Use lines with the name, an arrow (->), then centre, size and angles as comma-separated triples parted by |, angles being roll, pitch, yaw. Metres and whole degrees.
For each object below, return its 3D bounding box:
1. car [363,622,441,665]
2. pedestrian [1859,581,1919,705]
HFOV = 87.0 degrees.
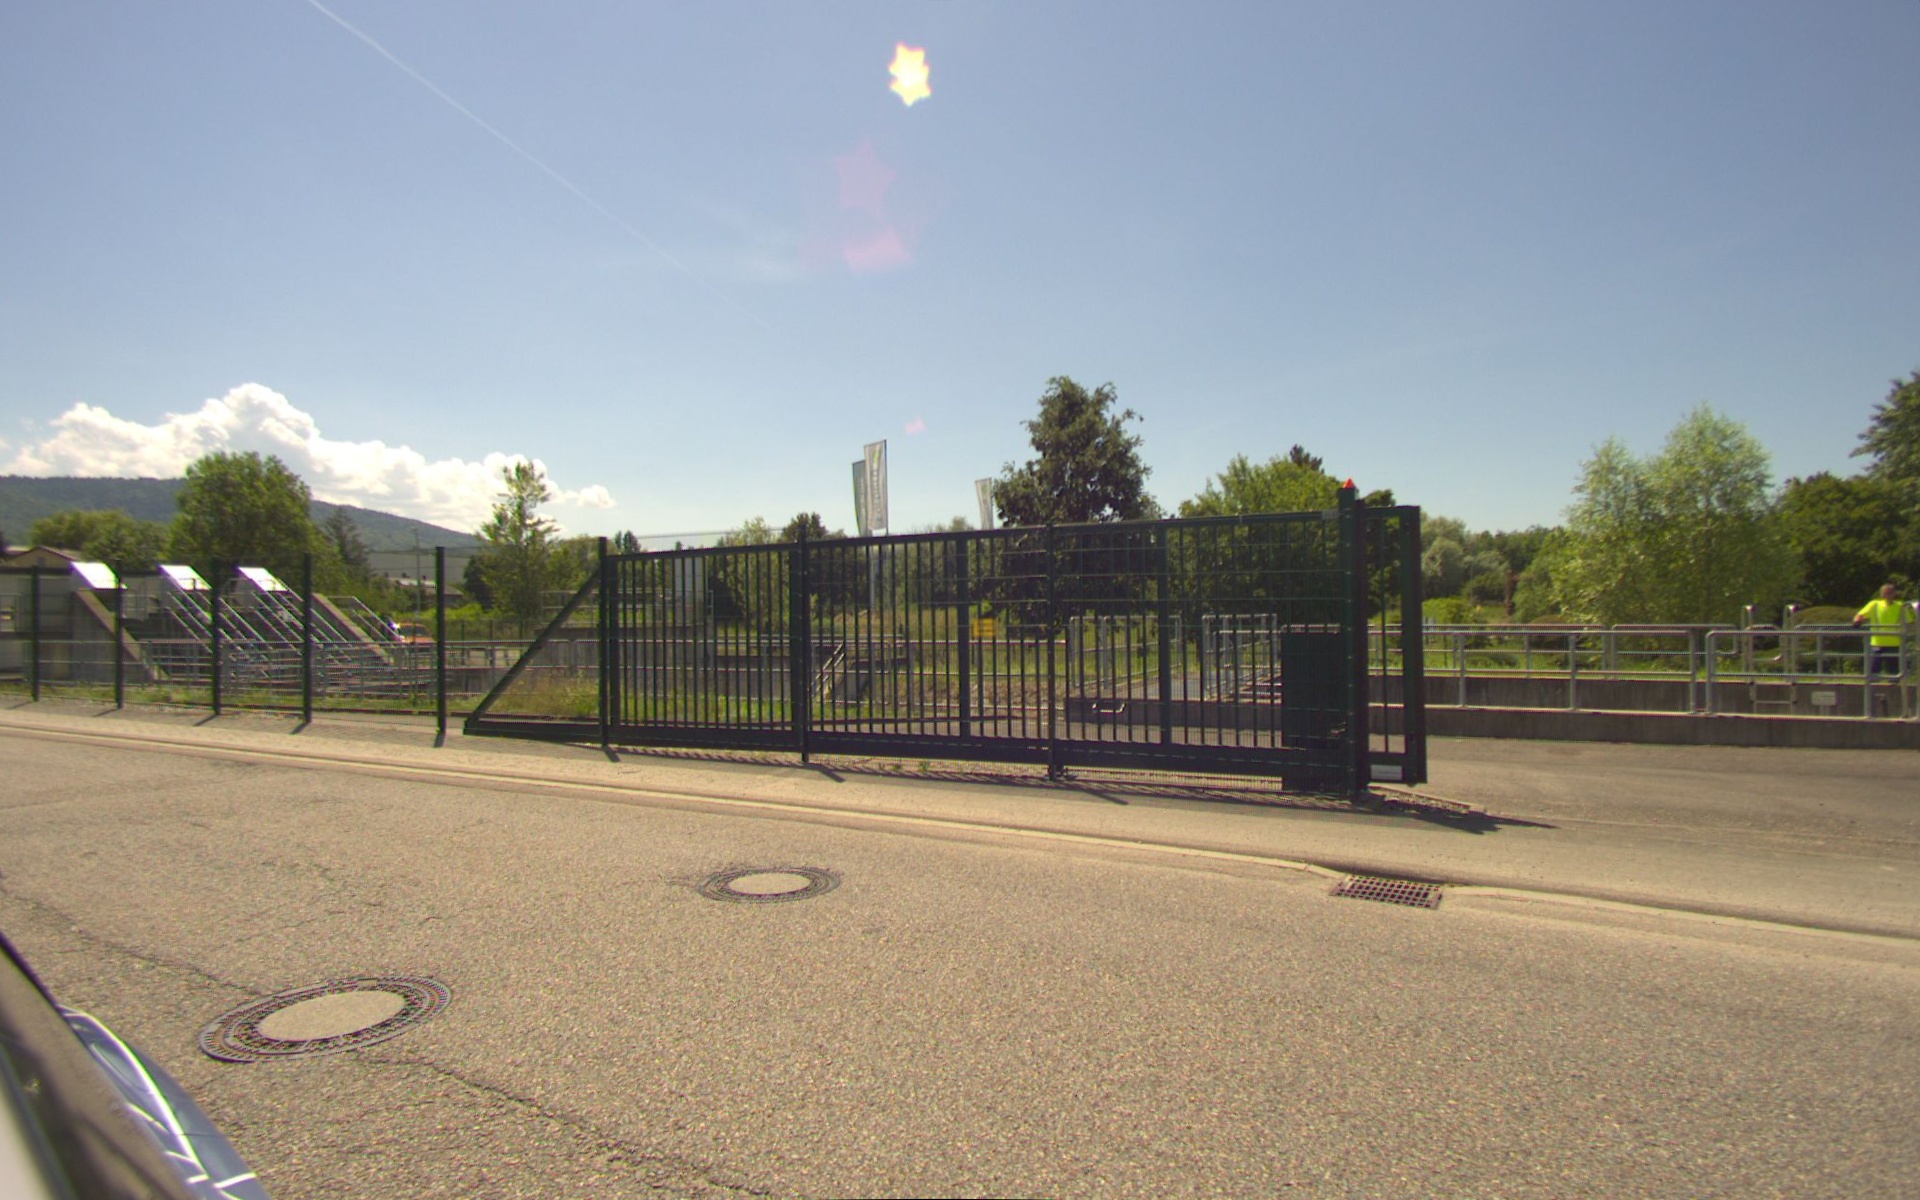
car -> -28.099, 2.174, 50.879 | 4.864, 2.029, 1.971 | -2, -5, 44
pedestrian -> 14.400, 0.649, 15.468 | 0.800, 1.853, 0.602 | 0, -2, 25
